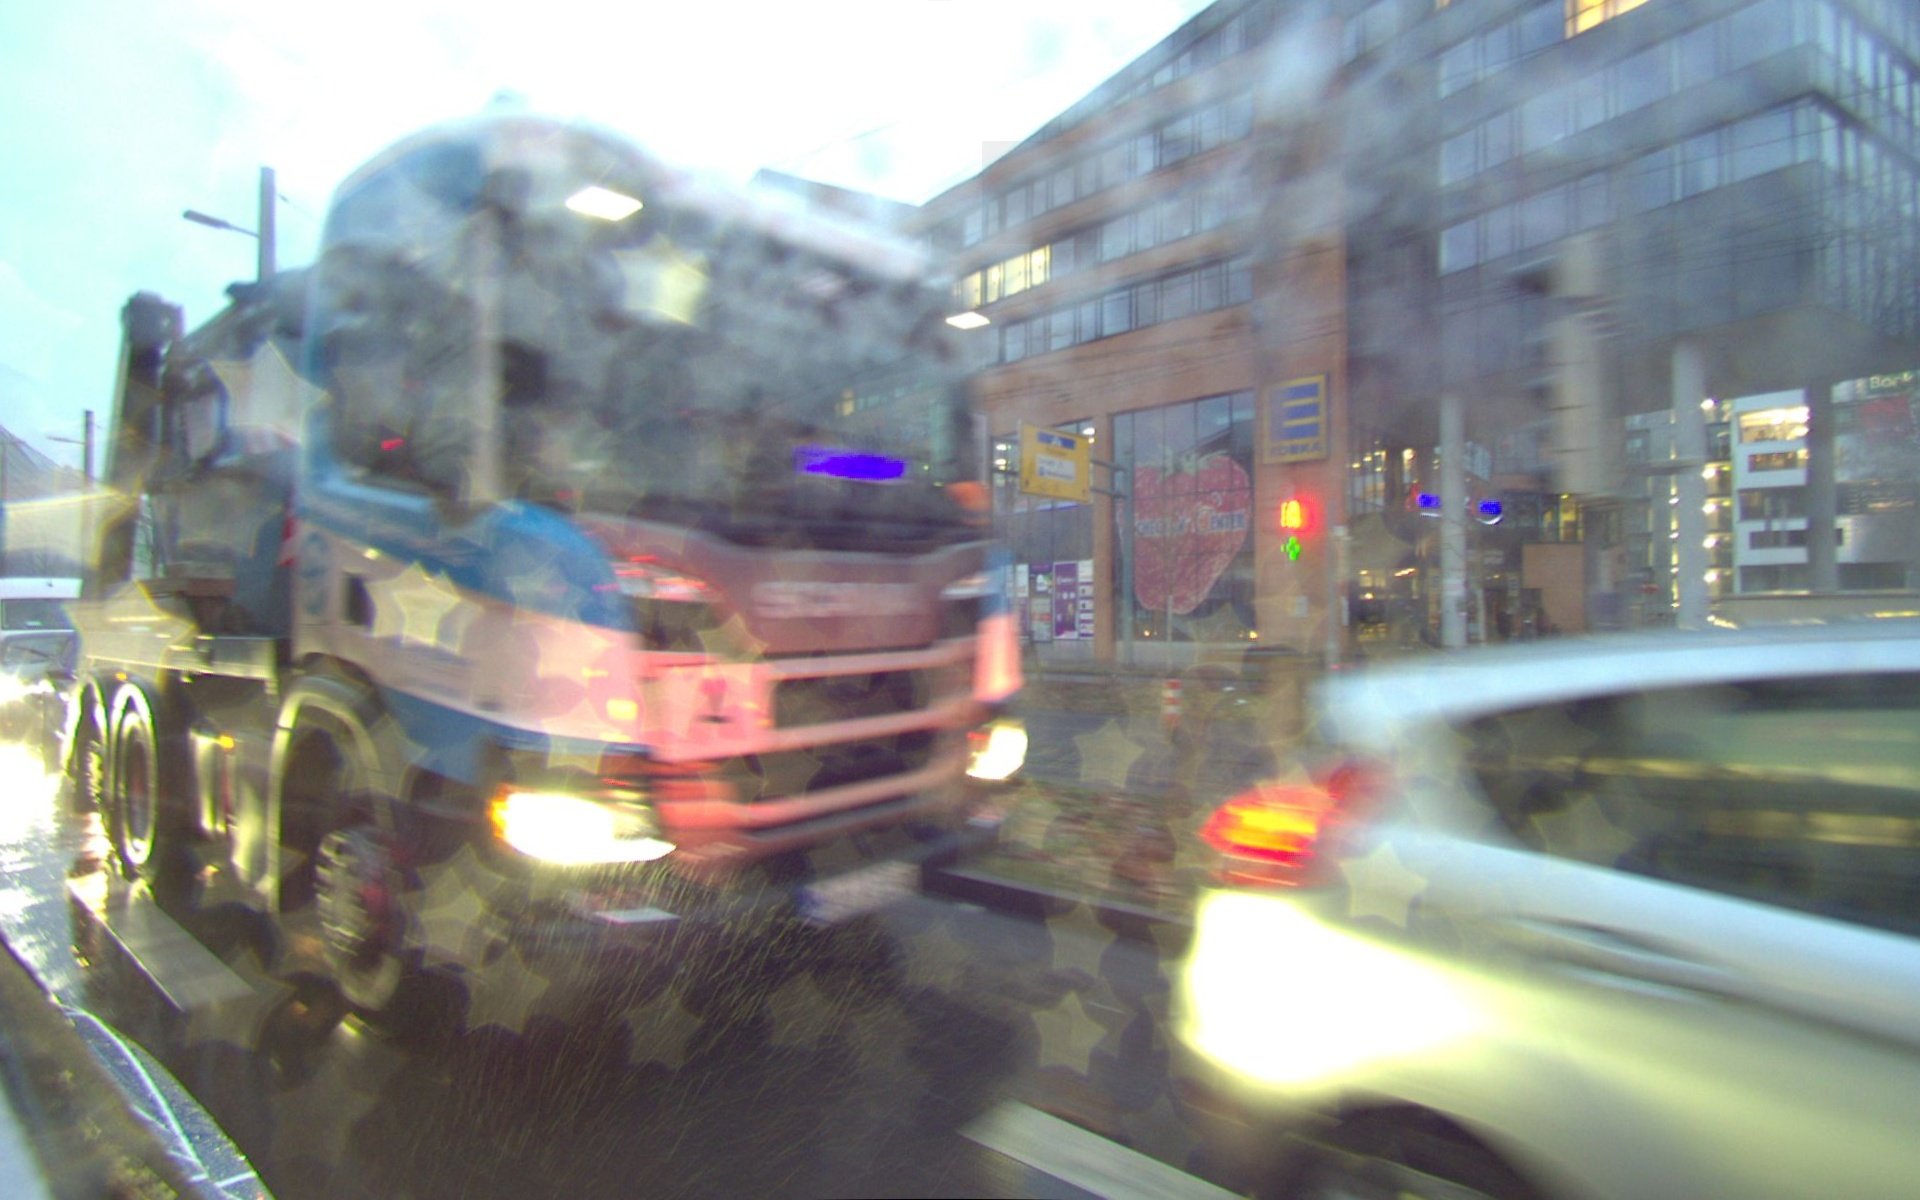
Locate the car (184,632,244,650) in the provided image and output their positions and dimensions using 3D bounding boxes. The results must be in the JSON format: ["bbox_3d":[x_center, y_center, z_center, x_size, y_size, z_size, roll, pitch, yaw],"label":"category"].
[{"bbox_3d":[-61.483,3.354,83.397,3.855,1.431,1.788,-1,-1,9],"label":"car"}]

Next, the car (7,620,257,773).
[{"bbox_3d":[-9.963,1.053,12.080,3.939,1.535,1.613,-2,-3,40],"label":"car"}]

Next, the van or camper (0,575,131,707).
[{"bbox_3d":[-20.266,0.875,22.201,5.893,2.551,2.126,-2,-2,40],"label":"van or camper"}]

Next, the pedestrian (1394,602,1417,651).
[{"bbox_3d":[16.324,0.966,37.076,0.658,1.766,0.534,-1,-2,12],"label":"pedestrian"}]

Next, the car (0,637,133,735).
[{"bbox_3d":[-14.666,1.290,16.168,4.057,1.355,1.736,-2,-2,43],"label":"car"}]

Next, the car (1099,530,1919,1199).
[{"bbox_3d":[2.344,0.624,1.379,3.998,1.458,1.688,-1,0,41],"label":"car"}]

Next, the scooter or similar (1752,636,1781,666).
[{"bbox_3d":[26.397,1.666,33.132,0.545,0.968,0.667,2,-3,-43],"label":"scooter or similar"}]

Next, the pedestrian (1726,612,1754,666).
[{"bbox_3d":[25.938,1.301,33.642,0.564,1.787,0.638,2,-3,-43],"label":"pedestrian"}]

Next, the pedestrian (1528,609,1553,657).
[{"bbox_3d":[21.727,1.225,37.881,0.703,1.766,0.564,-2,-2,38],"label":"pedestrian"}]

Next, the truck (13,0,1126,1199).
[{"bbox_3d":[-3.016,-0.234,5.960,7.520,3.661,2.810,-2,-2,40],"label":"truck"}]

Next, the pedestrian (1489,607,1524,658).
[{"bbox_3d":[19.151,1.148,35.485,0.782,1.766,0.704,0,-2,-1],"label":"pedestrian"}]
